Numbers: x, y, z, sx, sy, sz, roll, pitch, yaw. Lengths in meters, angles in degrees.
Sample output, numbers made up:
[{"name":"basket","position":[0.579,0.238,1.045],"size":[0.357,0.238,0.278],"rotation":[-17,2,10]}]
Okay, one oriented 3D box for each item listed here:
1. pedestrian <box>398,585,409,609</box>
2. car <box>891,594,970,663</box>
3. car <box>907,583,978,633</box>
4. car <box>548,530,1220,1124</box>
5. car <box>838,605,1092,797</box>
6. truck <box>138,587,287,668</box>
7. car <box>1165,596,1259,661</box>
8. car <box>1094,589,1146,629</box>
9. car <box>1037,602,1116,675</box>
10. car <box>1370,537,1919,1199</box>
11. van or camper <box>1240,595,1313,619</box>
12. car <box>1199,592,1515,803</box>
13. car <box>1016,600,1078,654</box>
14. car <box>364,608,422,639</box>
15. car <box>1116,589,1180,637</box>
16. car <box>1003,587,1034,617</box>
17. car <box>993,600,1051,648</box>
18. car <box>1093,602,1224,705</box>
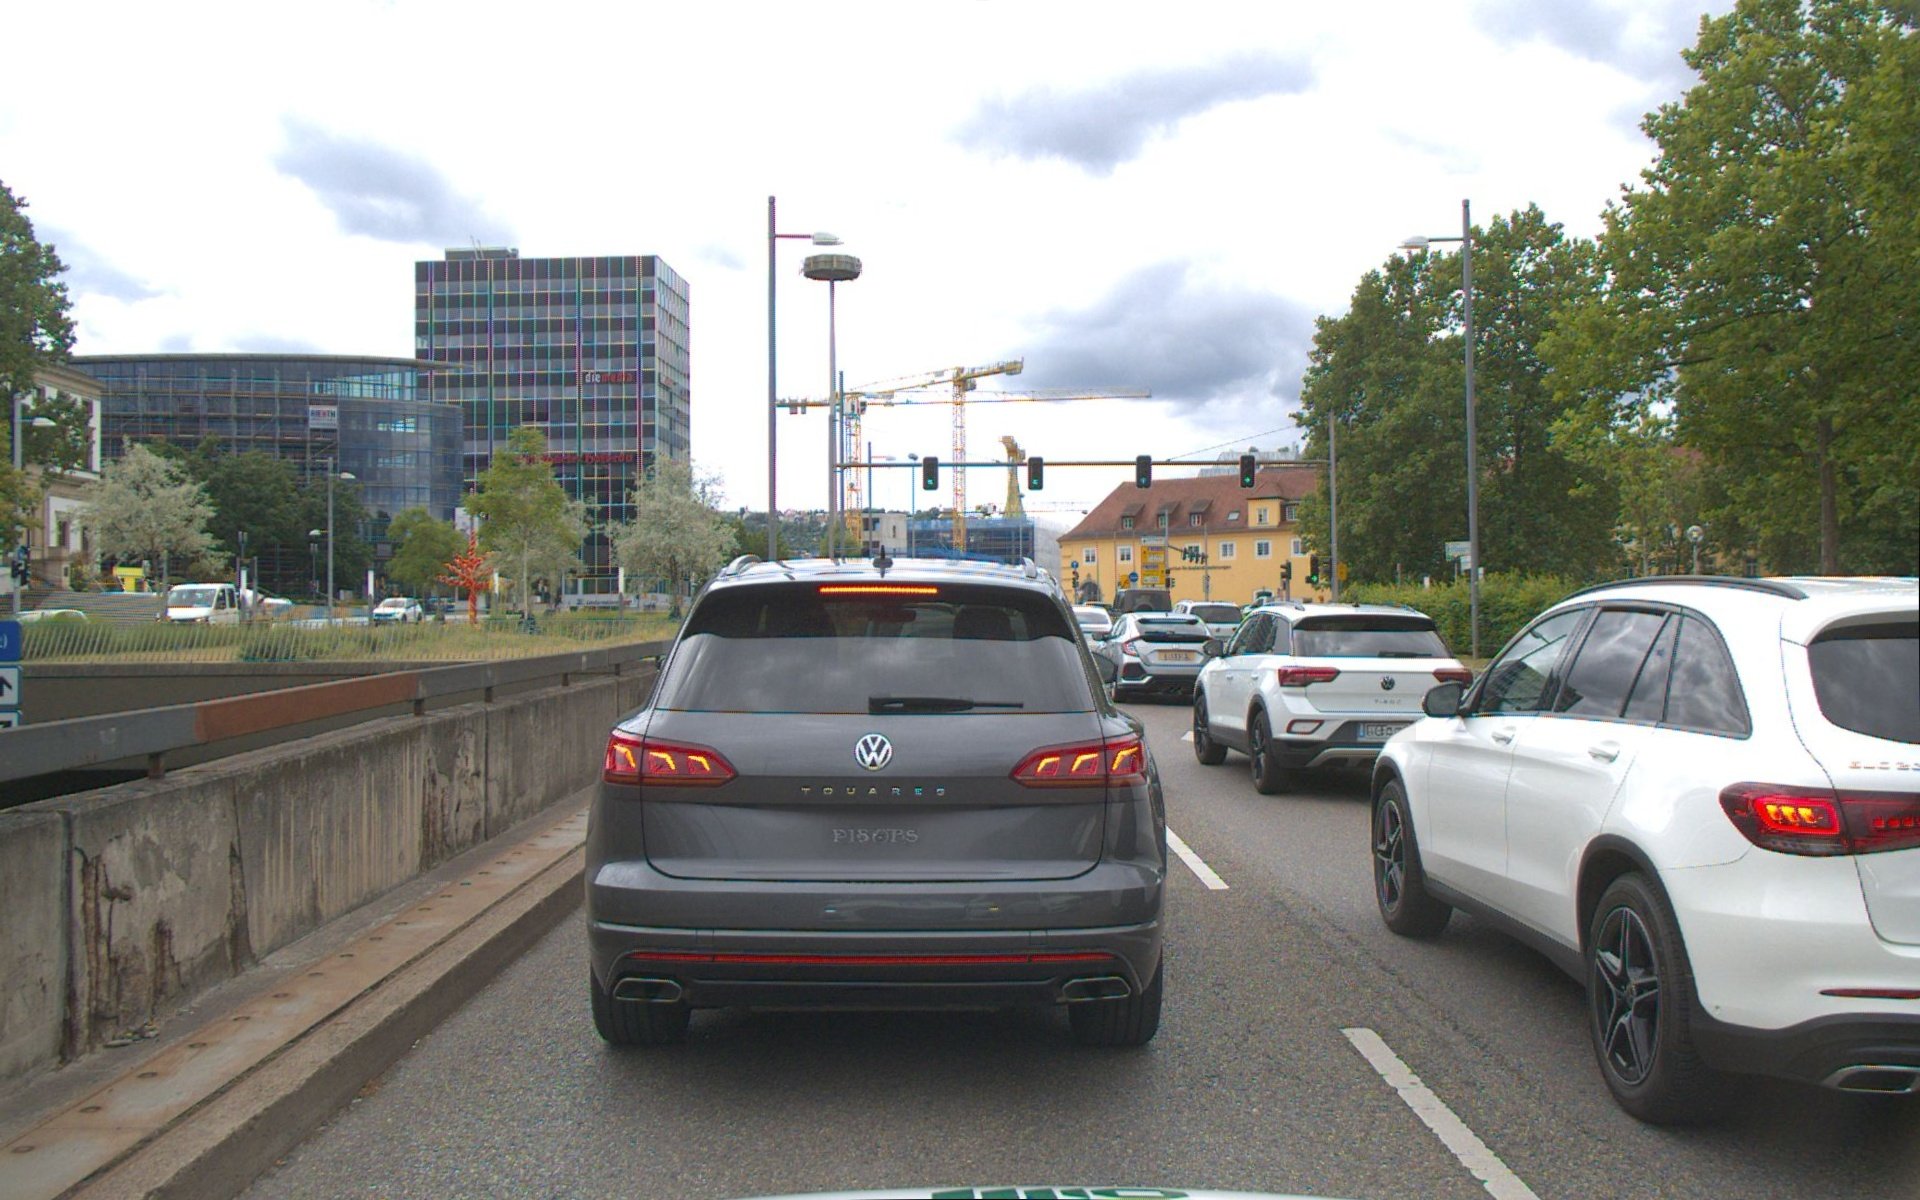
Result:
[{"name":"pedestrian","position":[-39.371,-0.209,117.036],"size":[0.513,1.678,0.650],"rotation":[1,-1,-2]},{"name":"car","position":[-0.704,0.643,39.411],"size":[1.777,1.522,3.905],"rotation":[0,0,-1]},{"name":"car","position":[-0.532,0.241,54.071],"size":[2.198,1.529,4.611],"rotation":[0,0,0]},{"name":"car","position":[-0.240,0.636,6.690],"size":[1.893,1.676,3.999],"rotation":[0,0,-1]},{"name":"car","position":[0.011,0.781,14.687],"size":[1.953,1.411,3.999],"rotation":[0,1,-1]},{"name":"truck","position":[-28.260,0.964,62.892],"size":[2.413,2.865,7.079],"rotation":[0,1,0]},{"name":"car","position":[6.277,0.687,41.576],"size":[1.766,1.529,3.981],"rotation":[0,0,0]},{"name":"car","position":[6.246,0.329,65.027],"size":[1.683,1.529,3.981],"rotation":[0,0,0]},{"name":"car","position":[2.598,0.839,37.582],"size":[1.683,1.529,3.982],"rotation":[0,0,2]},{"name":"car","position":[2.969,0.677,6.244],"size":[1.781,1.676,4.379],"rotation":[0,0,0]},{"name":"van or camper","position":[27.294,0.614,142.661],"size":[5.902,2.049,2.012],"rotation":[0,-1,35]},{"name":"car","position":[3.345,0.749,14.684],"size":[1.855,1.613,3.800],"rotation":[0,0,-1]},{"name":"car","position":[2.613,0.780,50.283],"size":[1.683,1.529,3.981],"rotation":[0,0,0]},{"name":"car","position":[-31.851,1.287,93.007],"size":[1.683,1.602,4.613],"rotation":[0,1,0]},{"name":"car","position":[6.240,0.399,55.212],"size":[1.683,1.529,3.981],"rotation":[0,0,0]},{"name":"car","position":[4.027,0.126,113.902],"size":[1.953,2.049,3.999],"rotation":[0,0,-1]},{"name":"car","position":[2.346,0.894,62.430],"size":[2.095,1.758,4.071],"rotation":[0,0,2]},{"name":"car","position":[3.199,0.817,27.338],"size":[1.683,1.529,4.144],"rotation":[0,0,0]}]
